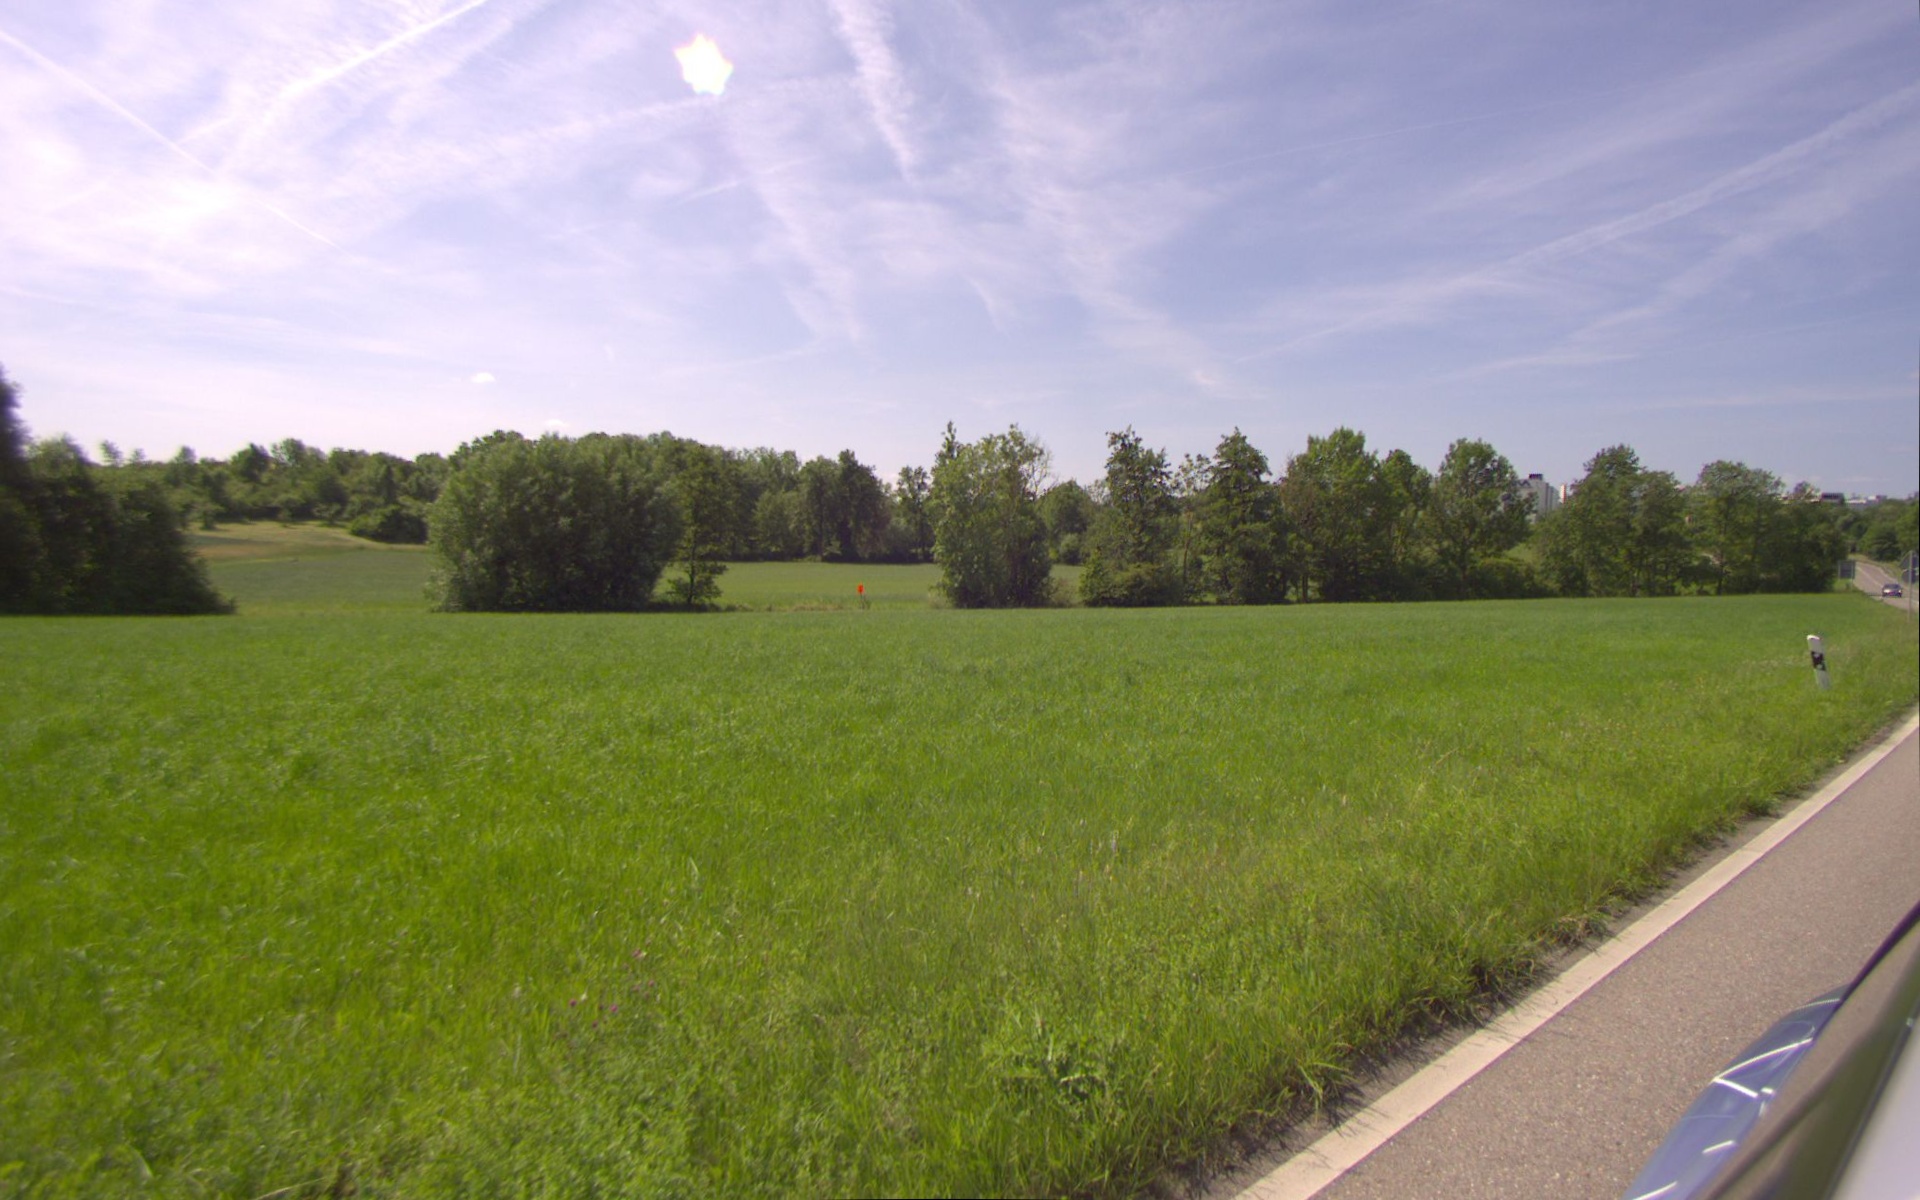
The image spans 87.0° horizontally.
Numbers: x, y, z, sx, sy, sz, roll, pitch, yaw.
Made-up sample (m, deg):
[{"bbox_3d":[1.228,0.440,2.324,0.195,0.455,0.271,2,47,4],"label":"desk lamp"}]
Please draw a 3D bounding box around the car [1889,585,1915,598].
[{"bbox_3d":[112.817,-1.020,121.250,1.991,1.605,3.943,1,1,40],"label":"car"}]
